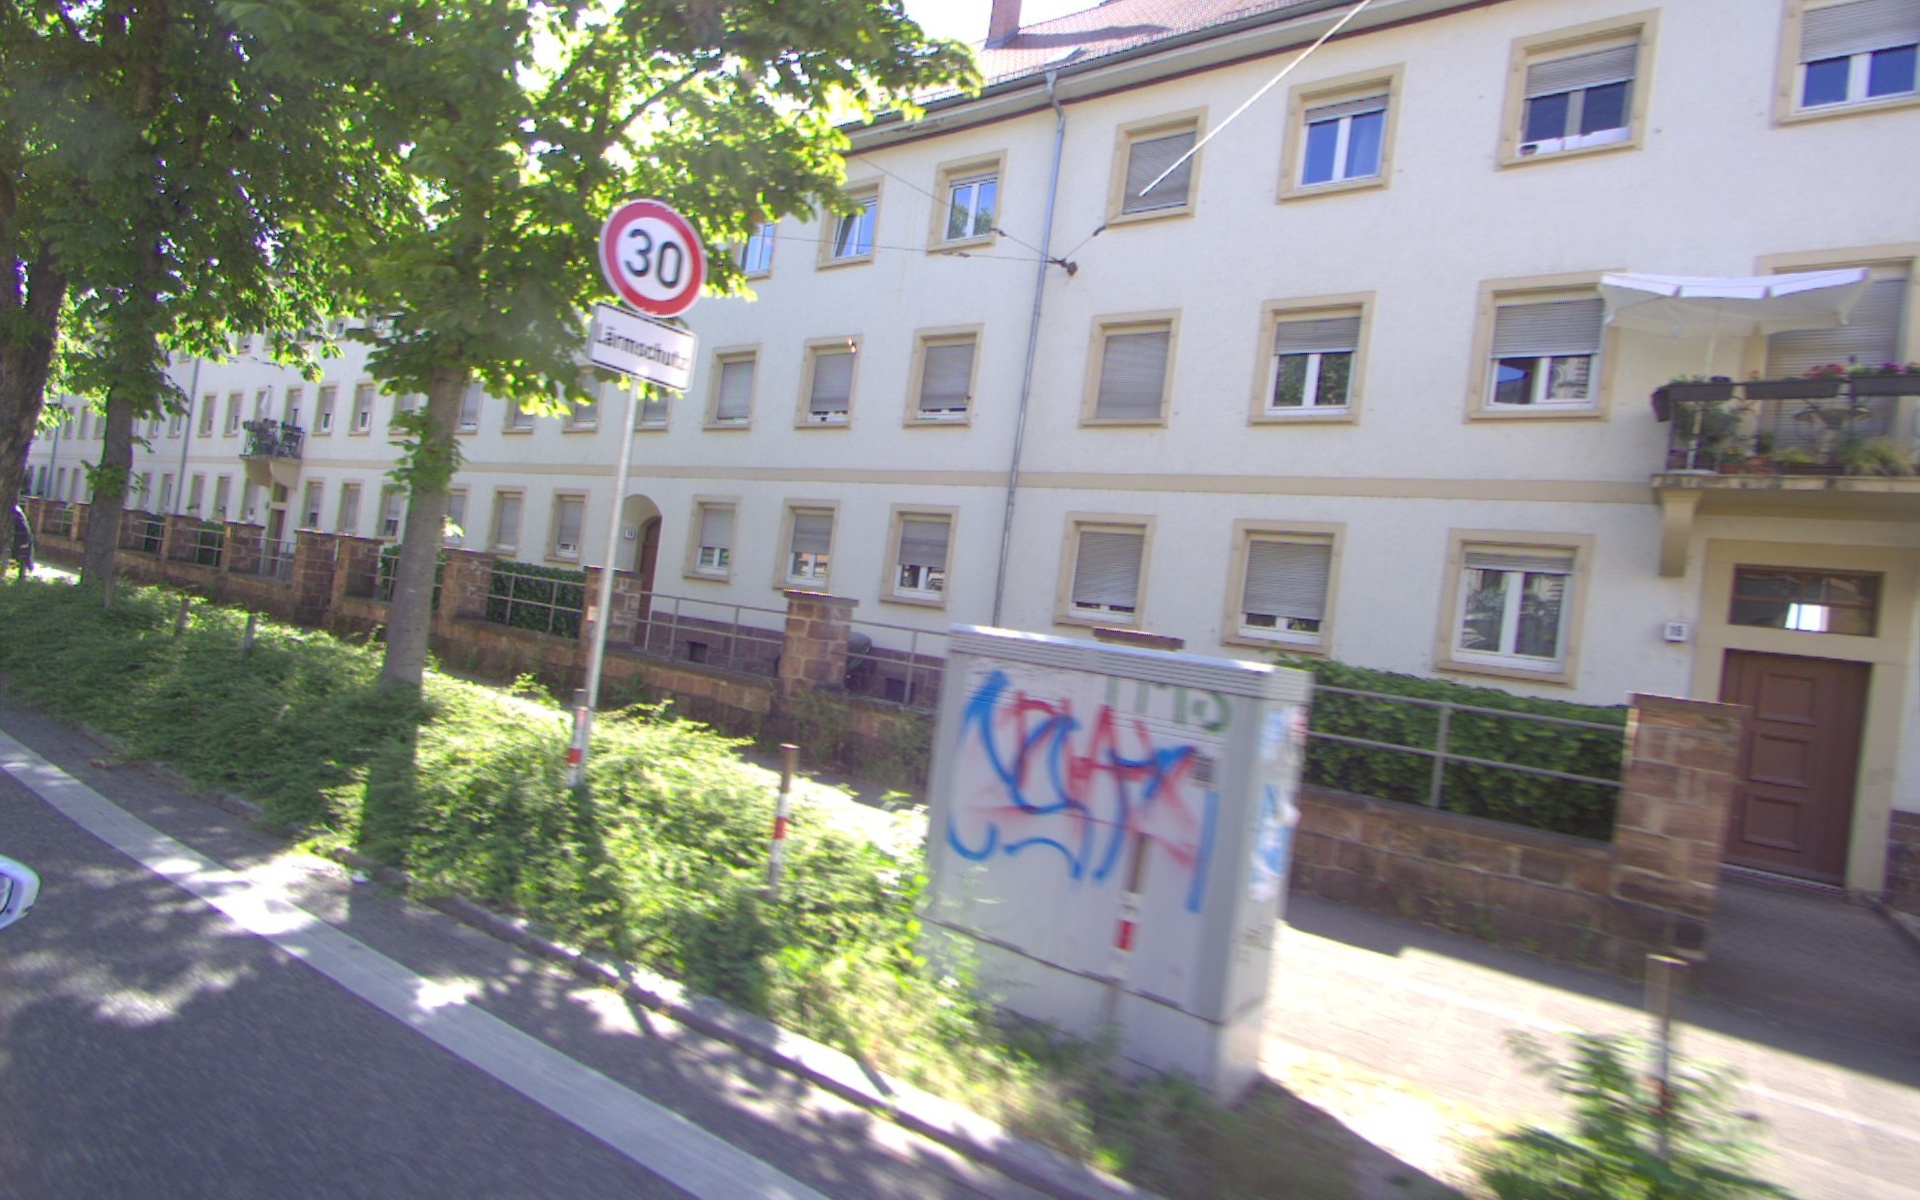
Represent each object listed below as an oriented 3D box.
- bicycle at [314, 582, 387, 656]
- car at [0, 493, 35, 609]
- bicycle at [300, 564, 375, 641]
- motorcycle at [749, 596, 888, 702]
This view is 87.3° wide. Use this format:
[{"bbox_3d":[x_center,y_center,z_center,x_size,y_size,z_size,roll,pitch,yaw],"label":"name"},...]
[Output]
[{"bbox_3d":[-11.976,0.354,19.754,1.649,1.252,0.448,6,-2,35],"label":"bicycle"},{"bbox_3d":[-17.336,-1.069,16.770,4.408,1.784,1.748,6,-5,36],"label":"car"},{"bbox_3d":[-11.699,0.041,18.896,1.649,1.252,0.448,6,-2,35],"label":"bicycle"},{"bbox_3d":[-2.463,0.826,17.329,2.223,1.503,0.808,6,-4,35],"label":"motorcycle"}]
